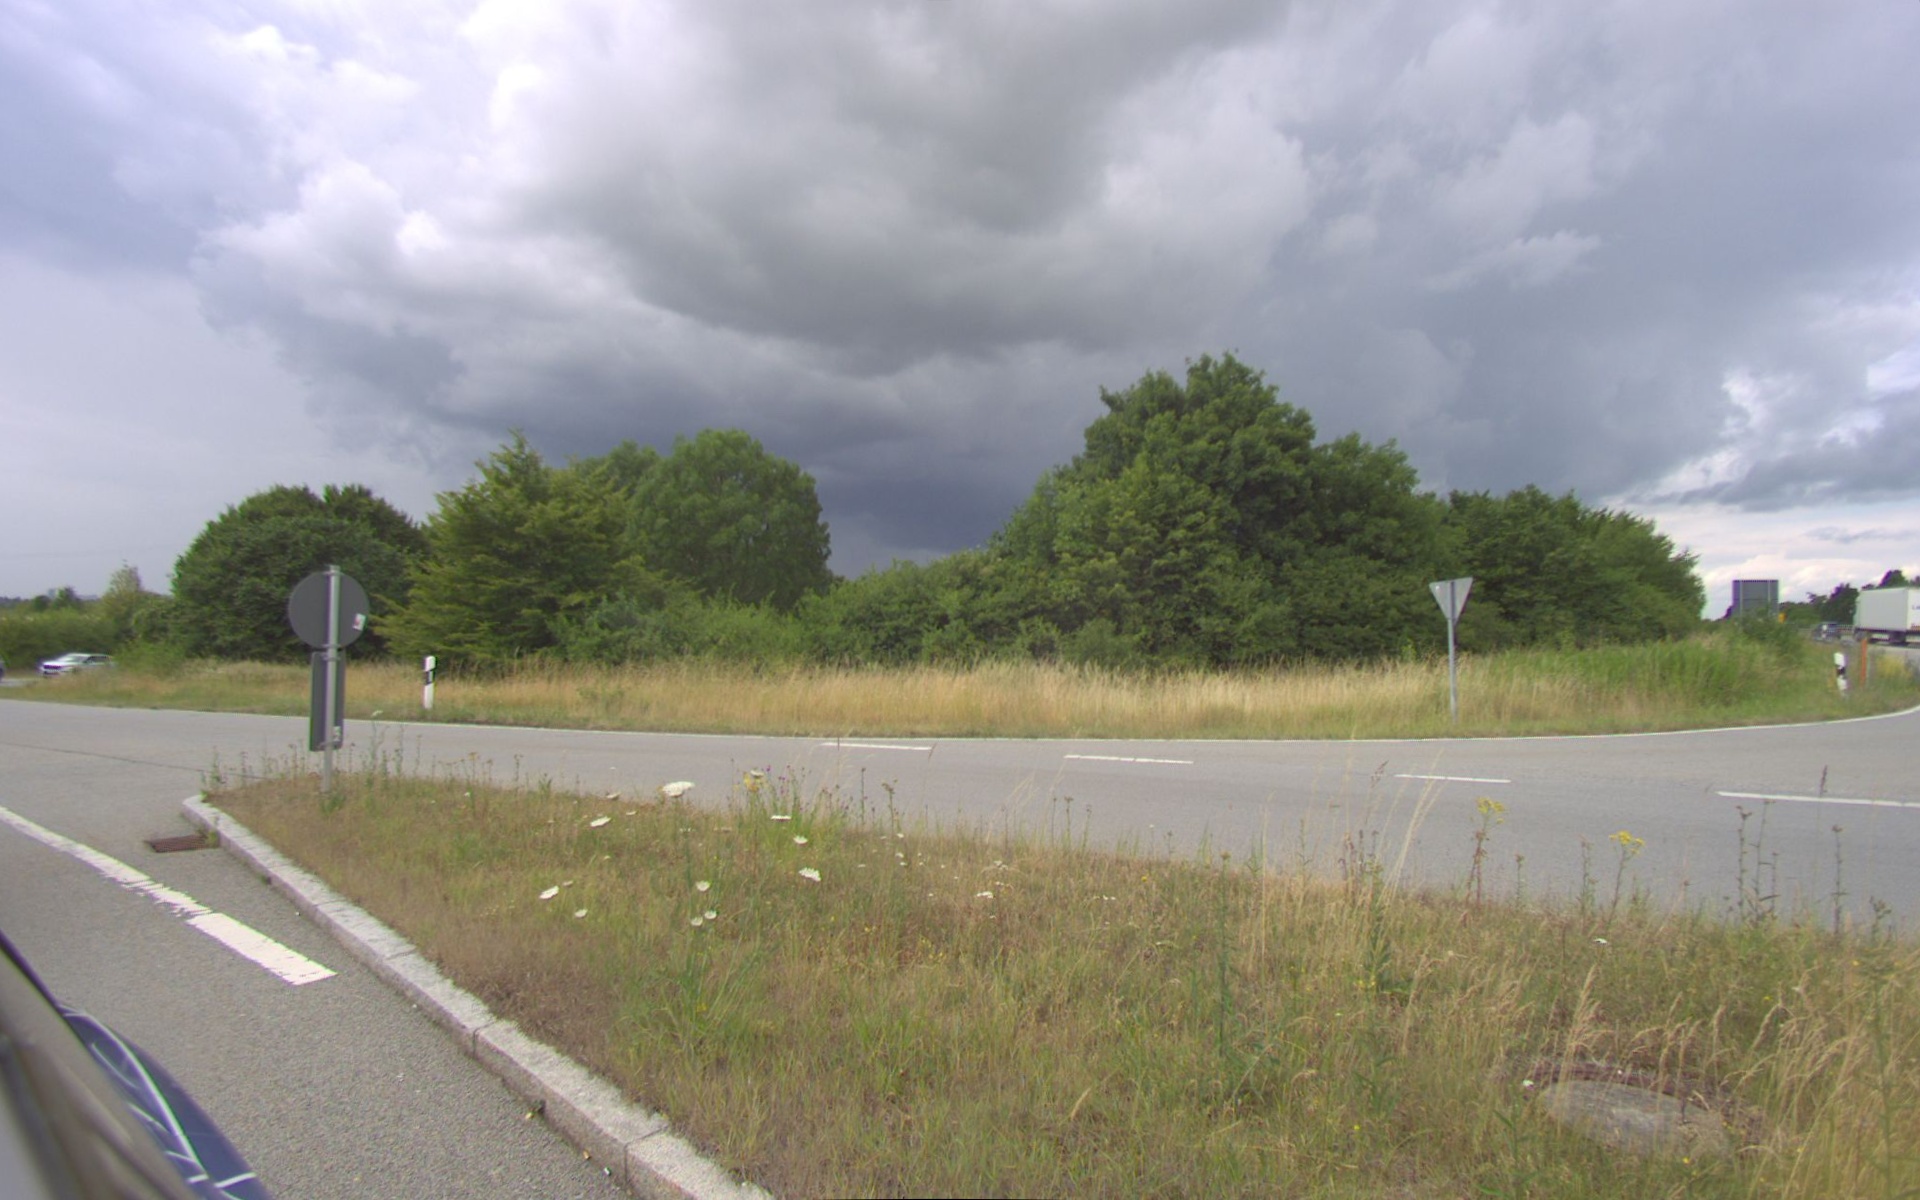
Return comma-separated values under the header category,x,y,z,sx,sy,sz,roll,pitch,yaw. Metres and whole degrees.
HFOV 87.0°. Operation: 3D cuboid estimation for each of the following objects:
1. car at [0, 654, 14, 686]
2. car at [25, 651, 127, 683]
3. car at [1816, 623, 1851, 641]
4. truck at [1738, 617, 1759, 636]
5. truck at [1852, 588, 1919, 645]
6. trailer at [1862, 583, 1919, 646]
category,x,y,z,sx,sy,sz,roll,pitch,yaw
car,-52.907,3.639,53.347,1.967,1.733,5.221,3,-5,-13
car,-54.685,4.122,62.772,1.970,1.732,5.214,3,-3,-5
car,84.231,3.117,97.646,1.995,1.614,4.174,-1,-3,34
truck,114.460,3.907,146.938,2.061,2.724,5.972,-1,-2,35
truck,69.935,1.283,76.082,3.119,4.044,7.227,1,-1,32
trailer,66.516,1.124,70.554,3.119,4.044,13.734,1,-1,32
